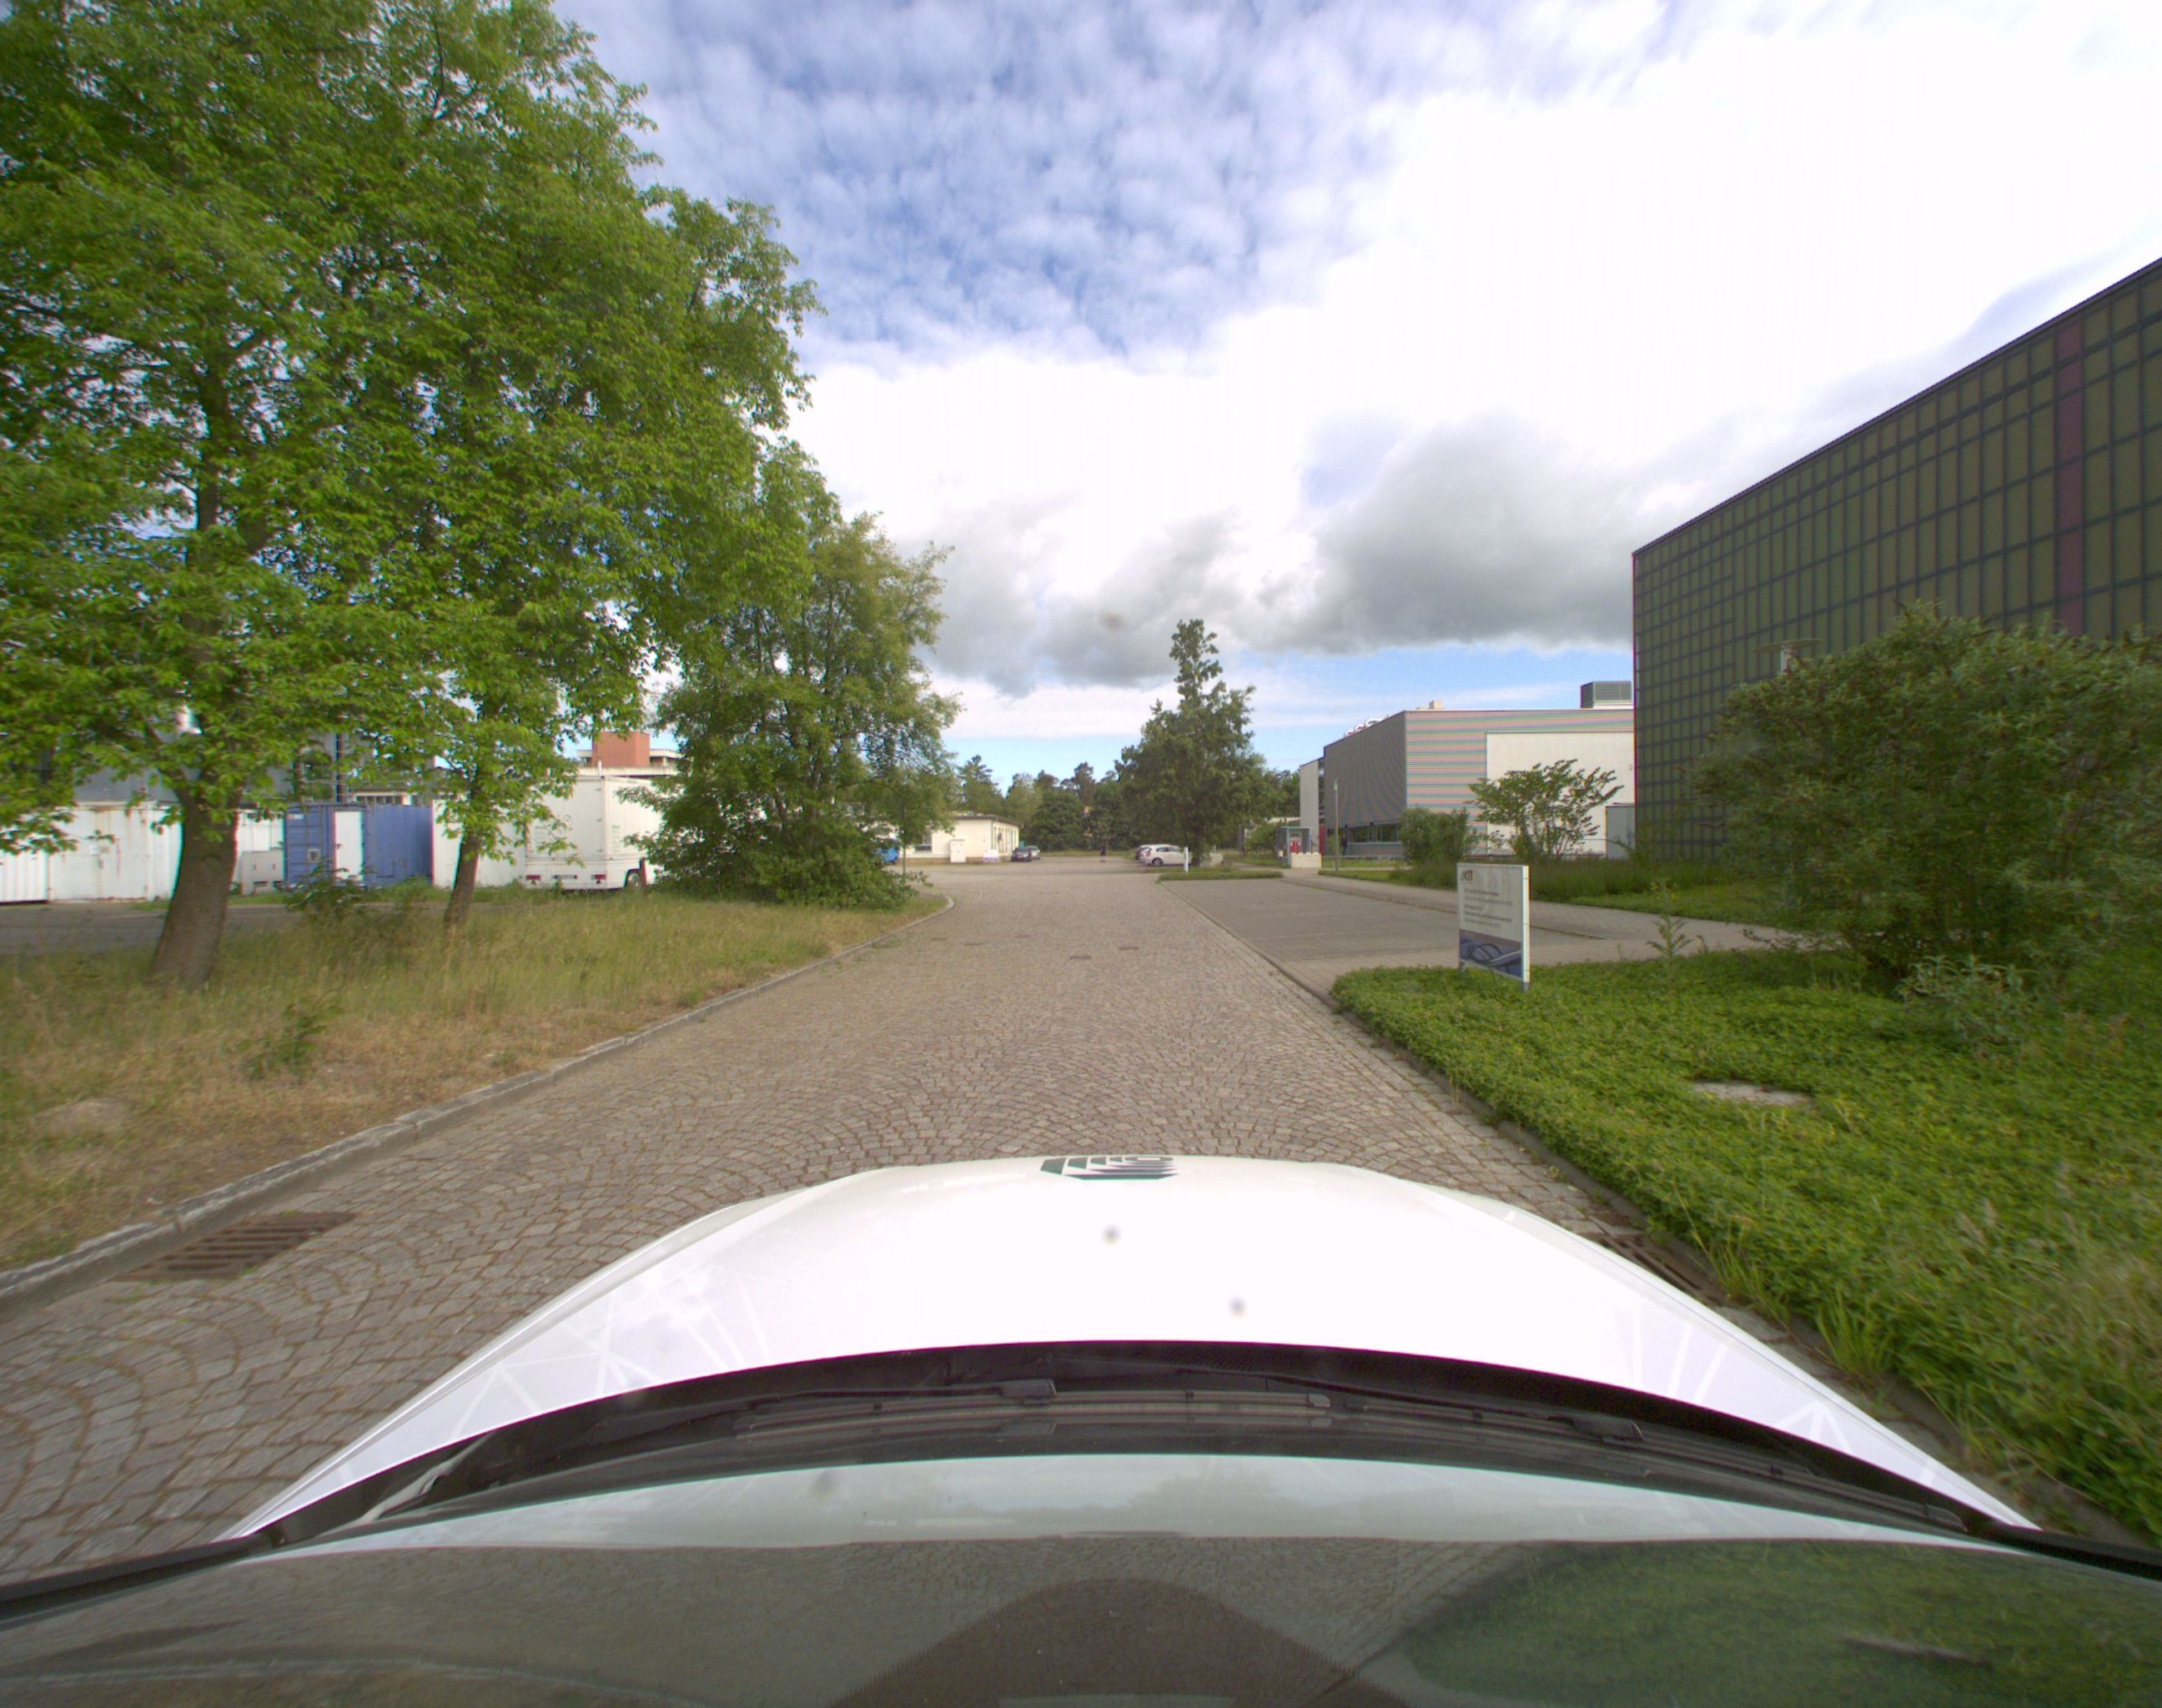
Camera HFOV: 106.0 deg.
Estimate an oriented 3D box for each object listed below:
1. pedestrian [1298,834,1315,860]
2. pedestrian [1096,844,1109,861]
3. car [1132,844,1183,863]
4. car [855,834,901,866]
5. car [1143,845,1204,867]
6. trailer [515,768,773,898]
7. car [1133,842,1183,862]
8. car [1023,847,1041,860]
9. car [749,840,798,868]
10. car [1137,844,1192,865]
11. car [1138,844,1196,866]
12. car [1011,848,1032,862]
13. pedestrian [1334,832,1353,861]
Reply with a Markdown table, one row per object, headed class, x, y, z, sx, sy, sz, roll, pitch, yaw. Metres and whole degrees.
| class | x | y | z | sx | sy | sz | roll | pitch | yaw |
| --- | --- | --- | --- | --- | --- | --- | --- | --- | --- |
| pedestrian | 17.787 | -0.543 | 64.179 | 0.919 | 2.013 | 1.145 | -1 | 0 | -5 |
| pedestrian | 2.014 | -0.150 | 75.206 | 0.942 | 1.568 | 0.966 | -1 | 0 | -16 |
| car | 6.127 | -0.023 | 65.806 | 3.972 | 1.455 | 1.770 | -1 | 0 | 1 |
| car | -16.968 | -0.357 | 68.404 | 1.984 | 2.523 | 5.625 | -1 | 0 | 5 |
| car | 6.284 | 0.149 | 55.687 | 3.972 | 1.455 | 2.001 | 0 | 0 | 1 |
| trailer | -14.616 | -0.639 | 28.797 | 2.645 | 3.705 | 10.733 | -1 | 0 | 4 |
| car | 6.532 | -0.178 | 69.017 | 3.977 | 1.533 | 1.998 | -1 | 0 | -3 |
| car | -5.431 | -0.059 | 90.072 | 1.744 | 1.454 | 3.998 | -1 | 0 | -1 |
| car | -25.500 | -0.005 | 67.747 | 1.892 | 2.206 | 4.788 | -1 | 0 | 4 |
| car | 6.180 | 0.022 | 60.900 | 3.972 | 1.455 | 1.770 | -1 | 0 | 1 |
| car | 6.045 | 0.063 | 57.860 | 3.972 | 1.455 | 1.698 | -1 | 0 | 1 |
| car | -5.810 | 0.087 | 79.842 | 1.744 | 1.364 | 3.998 | -1 | 0 | -1 |
| pedestrian | 18.000 | -0.528 | 55.930 | 0.922 | 1.936 | 0.847 | -1 | 0 | -29 |
